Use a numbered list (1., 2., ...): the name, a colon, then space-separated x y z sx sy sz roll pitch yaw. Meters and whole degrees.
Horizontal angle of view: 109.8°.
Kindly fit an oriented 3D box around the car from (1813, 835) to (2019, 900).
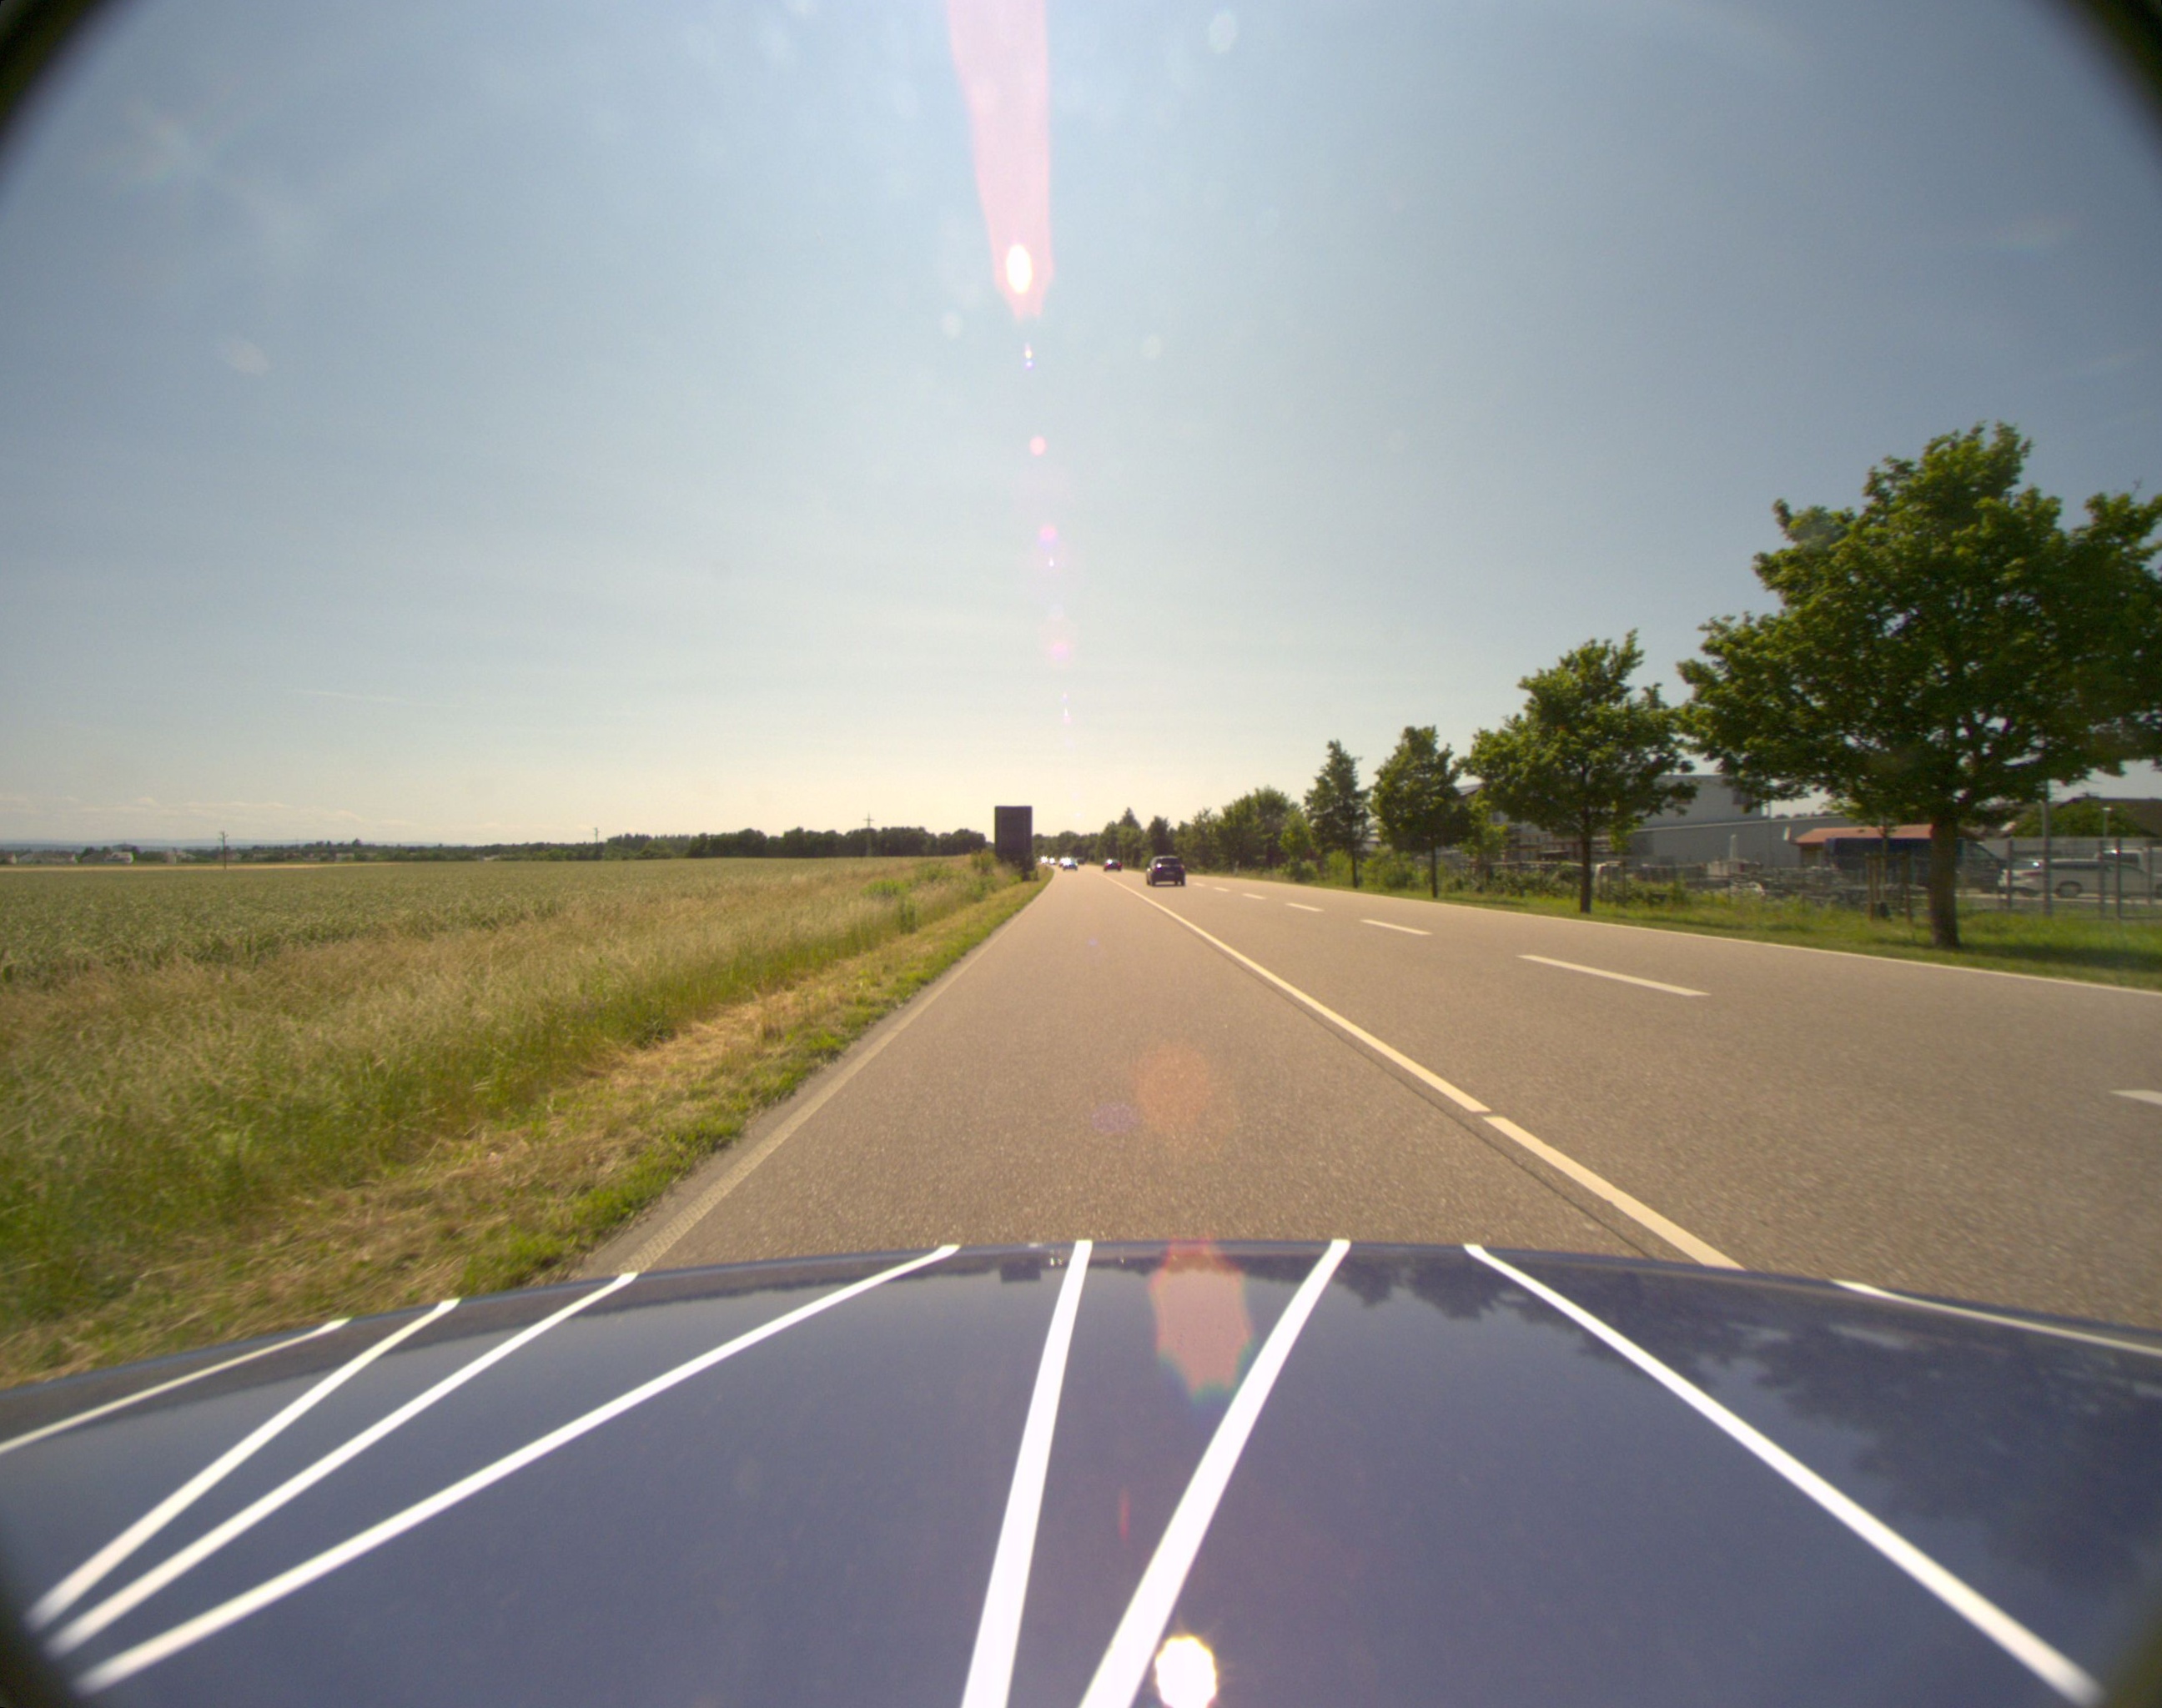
1. car: 37.011 0.538 33.978 5.728 2.707 2.370 1 0 32

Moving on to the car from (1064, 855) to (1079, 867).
1. car: -1.184 0.876 93.203 1.693 1.431 3.709 -1 0 -3

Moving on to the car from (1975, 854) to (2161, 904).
1. car: 38.027 0.903 29.027 4.625 1.796 2.059 1 0 16

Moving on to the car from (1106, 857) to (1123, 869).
1. car: 3.612 0.963 82.380 1.640 1.261 3.811 -2 0 -2

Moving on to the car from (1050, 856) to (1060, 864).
1. car: -5.805 1.244 168.223 1.555 1.659 3.996 -2 1 -10

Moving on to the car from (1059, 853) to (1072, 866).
1. car: -2.648 0.959 128.435 1.999 2.001 4.000 -2 -1 0

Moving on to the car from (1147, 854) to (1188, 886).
1. car: 4.419 0.789 39.377 1.684 1.490 3.886 -2 0 0

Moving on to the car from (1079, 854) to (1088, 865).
1. car: 0.484 0.988 145.499 1.566 2.002 3.879 0 1 -1
